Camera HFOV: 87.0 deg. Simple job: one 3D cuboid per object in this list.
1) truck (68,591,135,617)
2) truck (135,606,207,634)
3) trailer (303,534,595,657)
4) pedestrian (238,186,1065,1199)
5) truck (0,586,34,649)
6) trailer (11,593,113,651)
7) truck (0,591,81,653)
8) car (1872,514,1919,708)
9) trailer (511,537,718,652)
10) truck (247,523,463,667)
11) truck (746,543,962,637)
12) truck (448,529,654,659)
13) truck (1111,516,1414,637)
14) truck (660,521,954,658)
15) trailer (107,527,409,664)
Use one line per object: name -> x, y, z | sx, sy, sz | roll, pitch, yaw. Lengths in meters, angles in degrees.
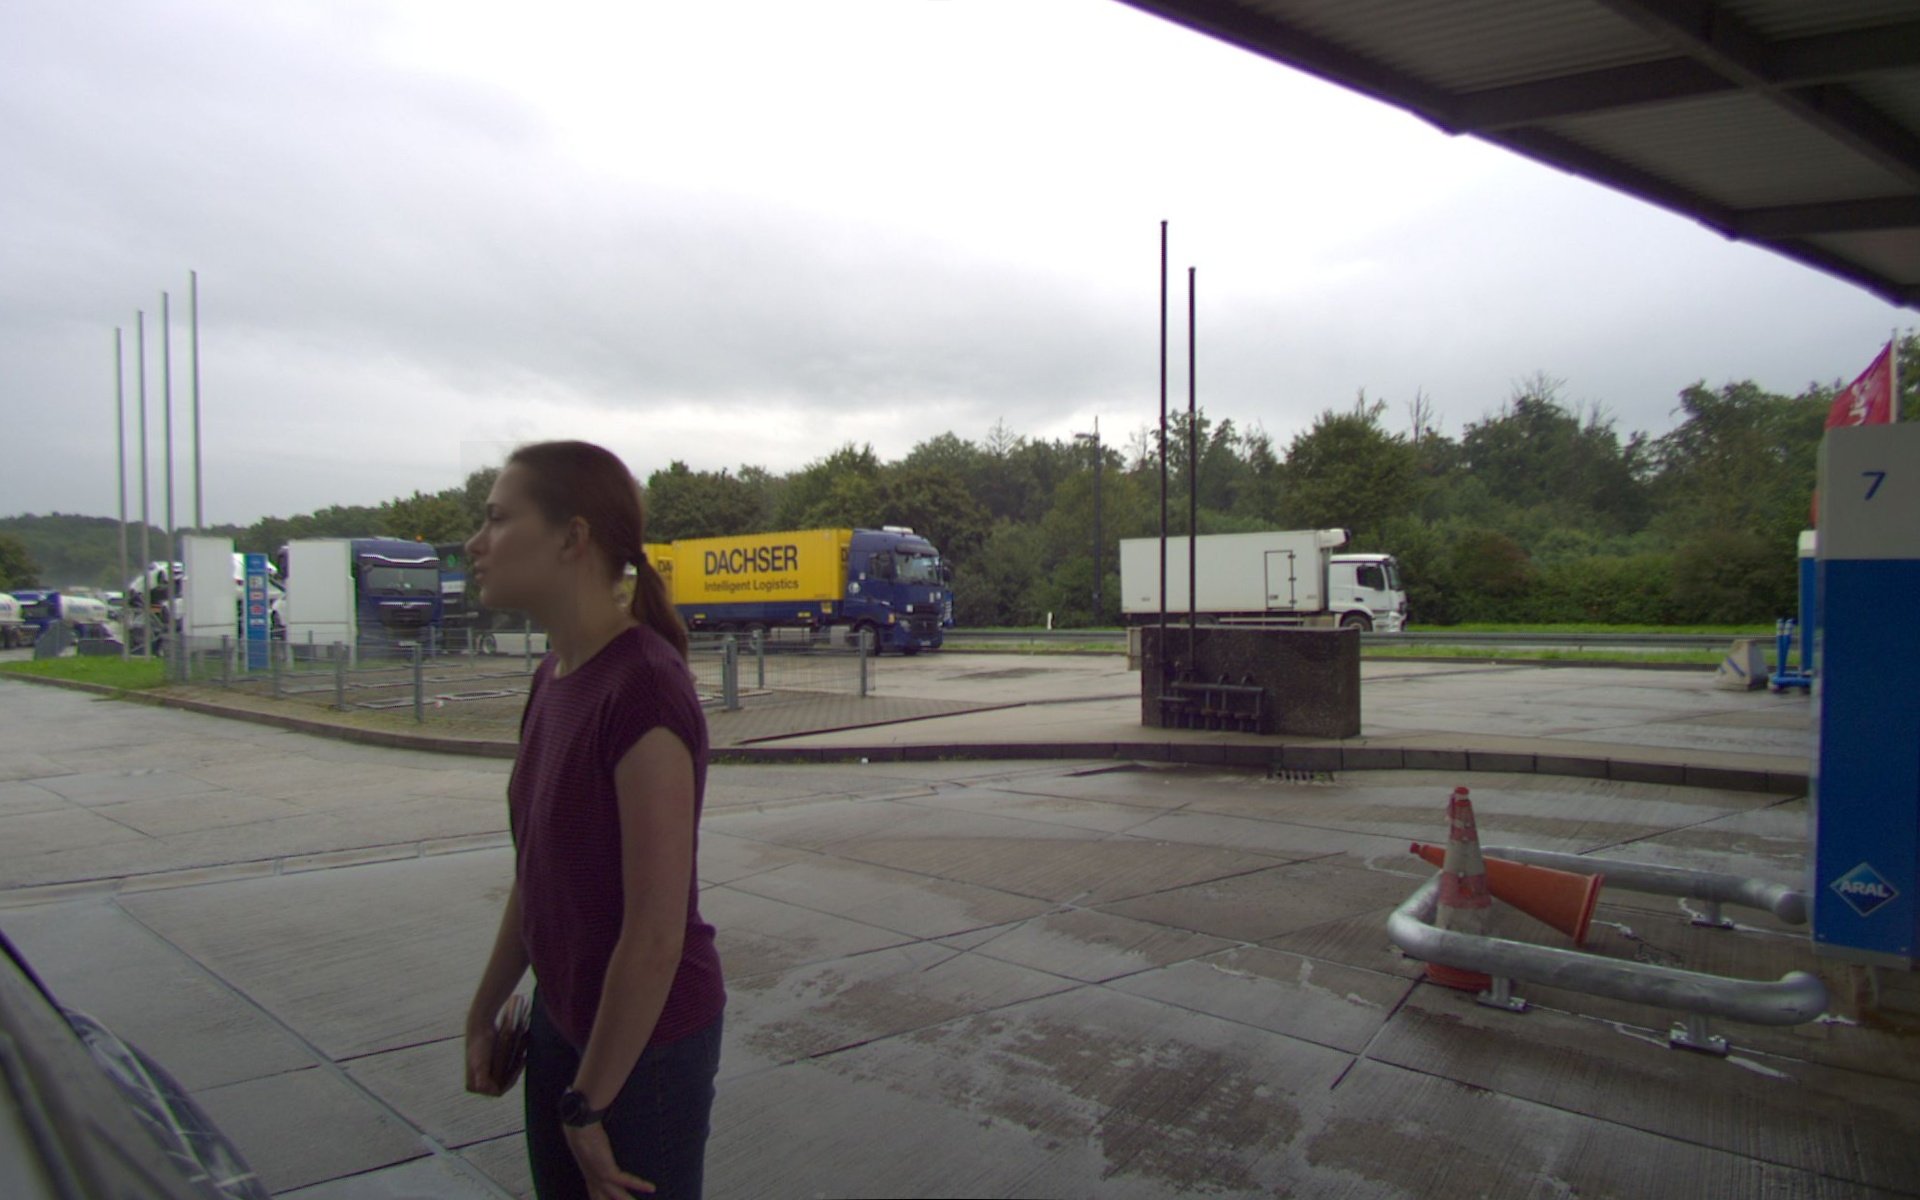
truck -> -126.983, 0.647, 149.546 | 16.515, 3.591, 3.215 | -1, 0, 34
truck -> -105.401, 2.678, 135.061 | 14.626, 3.591, 3.215 | -1, -1, 34
trailer -> -19.541, -0.087, 38.073 | 13.758, 4.063, 2.960 | -1, 0, 31
pedestrian -> -0.419, 0.529, 1.423 | 0.839, 1.747, 0.786 | -1, -1, 40
truck -> -55.559, 1.016, 55.017 | 3.196, 3.591, 12.013 | -1, 0, -19
trailer -> -62.270, 1.432, 70.483 | 2.854, 3.666, 10.605 | -1, 0, -28
truck -> -59.425, 1.369, 64.996 | 3.000, 3.795, 6.486 | -1, 0, -27
car -> 14.860, 0.115, 12.363 | 5.272, 2.482, 2.298 | -1, -2, 37
trailer -> -13.547, -0.165, 39.289 | 8.833, 4.063, 2.743 | -1, 0, 33
truck -> -18.994, -0.113, 31.622 | 7.244, 4.063, 2.957 | -1, 0, 34
truck -> -5.141, -0.402, 47.690 | 10.433, 4.063, 2.961 | -1, 0, 30
truck -> -14.048, -0.157, 34.679 | 6.712, 4.063, 2.962 | -1, 0, 29
truck -> 11.072, -0.732, 37.699 | 10.433, 4.063, 2.961 | -1, 0, 30
truck -> -5.391, -0.269, 33.955 | 10.608, 4.063, 2.743 | -1, 0, 33
trailer -> -25.418, -0.057, 35.925 | 16.563, 4.063, 2.957 | -1, 0, 34
